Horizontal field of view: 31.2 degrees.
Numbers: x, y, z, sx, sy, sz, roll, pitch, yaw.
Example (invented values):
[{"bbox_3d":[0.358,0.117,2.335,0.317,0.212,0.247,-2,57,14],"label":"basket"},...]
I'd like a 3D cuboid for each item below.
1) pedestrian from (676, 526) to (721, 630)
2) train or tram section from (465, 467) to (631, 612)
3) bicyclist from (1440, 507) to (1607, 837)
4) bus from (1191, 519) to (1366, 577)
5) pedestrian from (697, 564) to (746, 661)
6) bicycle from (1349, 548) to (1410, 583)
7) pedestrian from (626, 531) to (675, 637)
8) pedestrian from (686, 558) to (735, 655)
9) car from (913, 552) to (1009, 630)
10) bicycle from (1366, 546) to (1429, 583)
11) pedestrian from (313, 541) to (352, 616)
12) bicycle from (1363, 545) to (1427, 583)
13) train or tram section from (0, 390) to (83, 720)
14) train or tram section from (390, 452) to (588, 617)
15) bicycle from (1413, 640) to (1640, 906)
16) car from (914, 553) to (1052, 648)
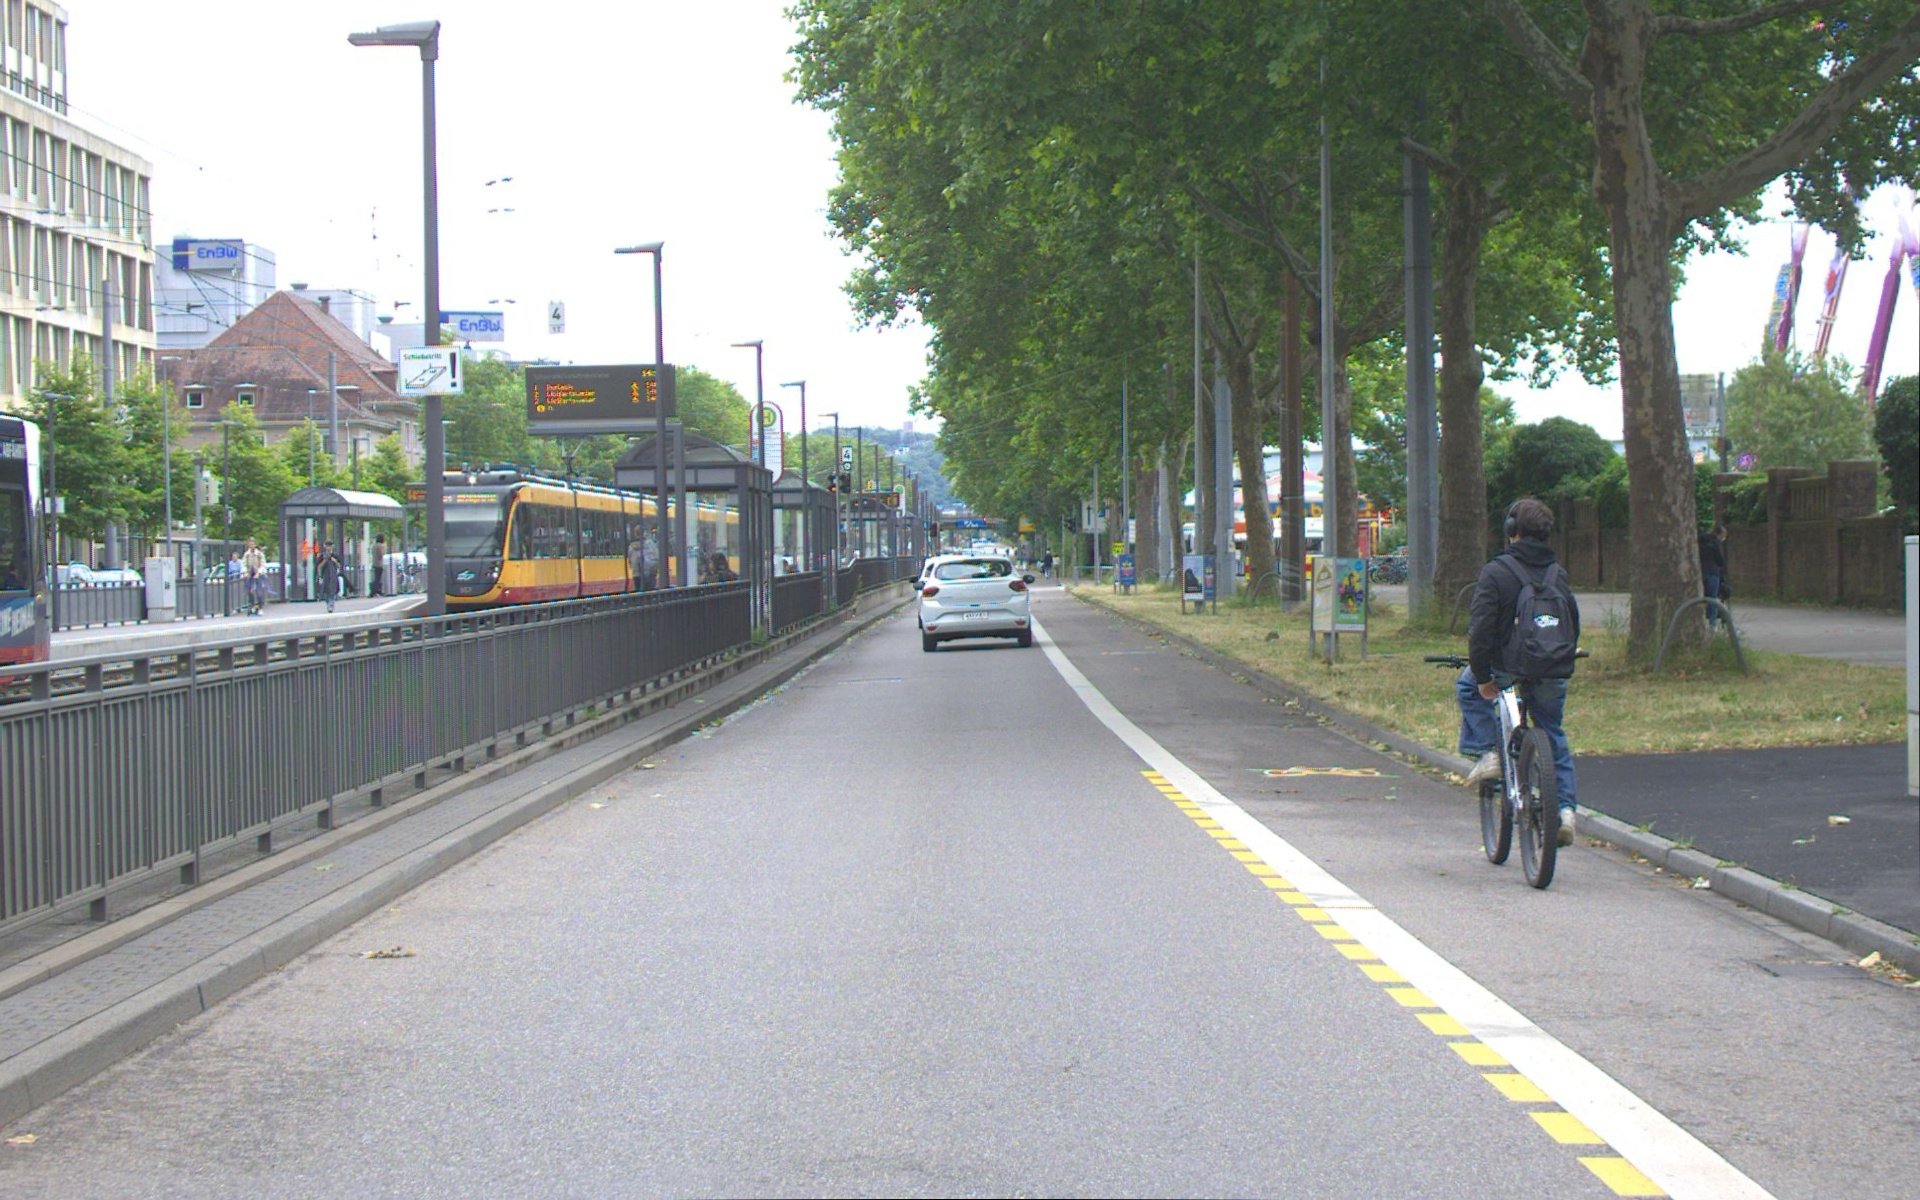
[{"bbox_3d":[-4.577,-0.379,60.161,0.670,1.787,1.113,-1,0,-8],"label":"pedestrian"},{"bbox_3d":[-11.695,-1.659,98.768,3.163,3.849,11.311,-1,0,1],"label":"train or tram section"},{"bbox_3d":[2.671,0.336,16.352,0.641,1.525,0.665,-1,0,-1],"label":"bicyclist"},{"bbox_3d":[17.324,-2.808,187.218,9.276,2.950,2.000,-1,0,-1],"label":"bus"},{"bbox_3d":[-3.411,0.174,49.191,0.610,1.368,0.600,-1,0,1],"label":"pedestrian"},{"bbox_3d":[14.001,-1.160,114.712,1.921,1.087,0.550,-3,0,-1],"label":"bicycle"},{"bbox_3d":[-5.346,-0.275,59.289,0.670,1.787,1.113,-1,0,-12],"label":"pedestrian"},{"bbox_3d":[-3.475,0.087,47.907,0.610,1.336,0.600,-1,0,1],"label":"pedestrian"},{"bbox_3d":[0.043,-0.208,72.574,1.841,1.546,4.000,-2,1,2],"label":"car"},{"bbox_3d":[14.011,-1.128,110.131,1.900,1.093,0.550,-3,0,-1],"label":"bicycle"},{"bbox_3d":[-15.077,-0.512,82.600,0.711,1.789,1.160,-1,0,-1],"label":"pedestrian"},{"bbox_3d":[13.861,-1.147,109.549,1.890,1.101,0.550,-3,0,-1],"label":"bicycle"},{"bbox_3d":[-12.110,-0.466,35.146,2.854,3.679,13.521,-1,0,0],"label":"train or tram section"},{"bbox_3d":[-11.817,-1.570,87.415,3.237,3.849,11.311,-1,0,1],"label":"train or tram section"},{"bbox_3d":[2.699,0.792,16.608,0.652,1.146,2.283,-1,0,-1],"label":"bicycle"},{"bbox_3d":[0.407,0.001,55.500,1.885,1.448,3.999,-1,0,5],"label":"car"}]
